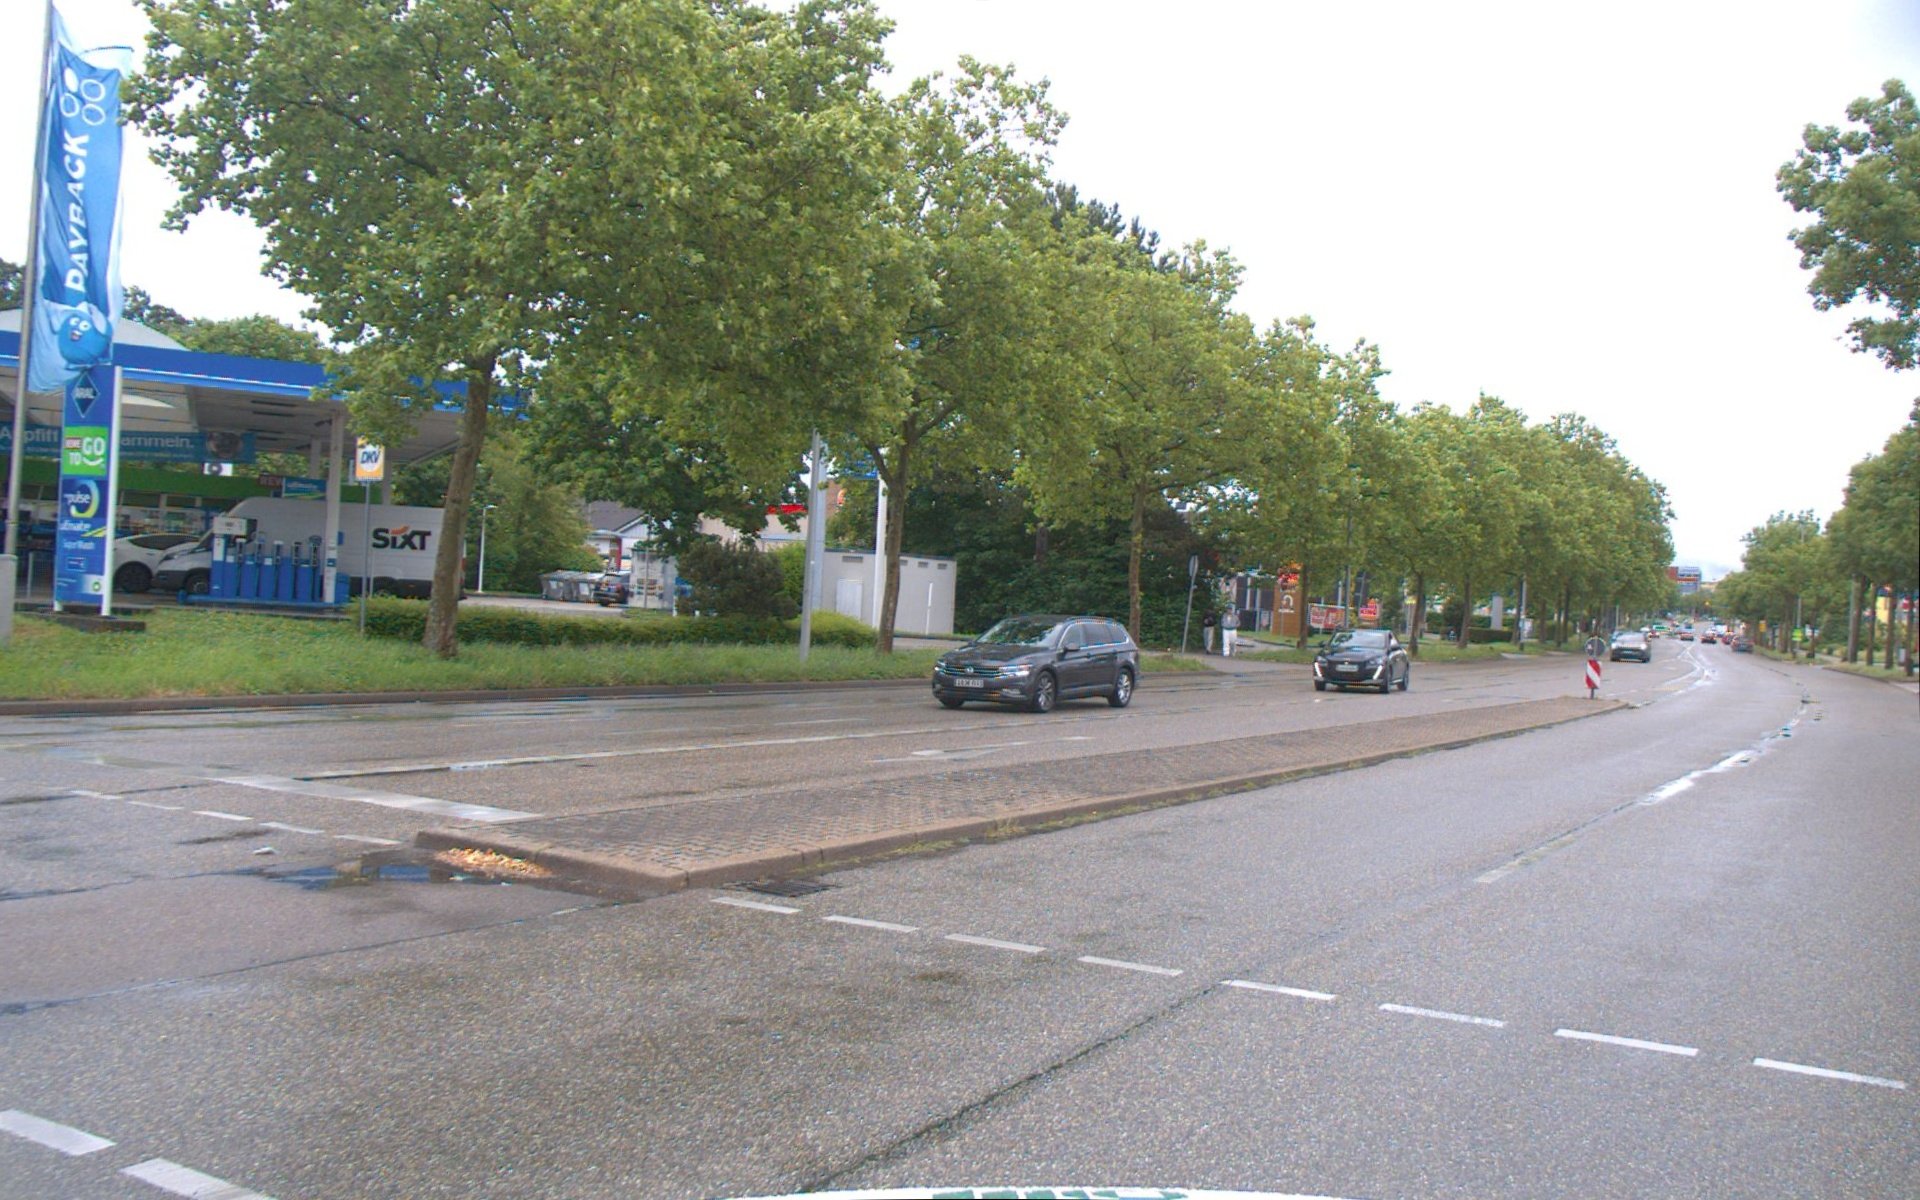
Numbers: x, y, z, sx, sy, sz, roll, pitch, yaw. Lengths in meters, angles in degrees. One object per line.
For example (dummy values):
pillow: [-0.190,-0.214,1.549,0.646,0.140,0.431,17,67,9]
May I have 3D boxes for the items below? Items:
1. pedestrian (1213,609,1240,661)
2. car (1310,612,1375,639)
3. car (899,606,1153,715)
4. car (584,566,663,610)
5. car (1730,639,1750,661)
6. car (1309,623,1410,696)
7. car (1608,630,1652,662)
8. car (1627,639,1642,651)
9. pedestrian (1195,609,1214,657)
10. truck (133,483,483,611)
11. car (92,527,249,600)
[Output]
pedestrian: [9.529,1.248,59.162,0.578,1.797,0.657,4,0,-42]
car: [20.768,1.377,89.920,3.121,1.175,1.287,6,1,33]
car: [1.173,0.948,26.568,1.958,1.535,4.717,1,-1,32]
car: [-15.435,-0.525,76.125,1.951,1.870,4.003,2,0,14]
car: [75.924,4.893,161.046,1.711,2.049,3.996,2,-1,25]
car: [9.404,1.368,38.760,1.610,1.534,3.891,2,-1,24]
car: [36.292,2.487,89.508,1.777,1.589,4.592,2,-1,27]
car: [93.743,6.241,229.748,1.768,1.489,3.843,1,-1,25]
pedestrian: [8.792,1.195,59.484,0.502,1.712,0.540,2,-1,27]
truck: [-15.923,-1.214,40.646,7.754,2.722,2.137,2,0,-27]
car: [-20.791,-0.946,43.701,3.500,1.609,1.679,4,-1,-21]
